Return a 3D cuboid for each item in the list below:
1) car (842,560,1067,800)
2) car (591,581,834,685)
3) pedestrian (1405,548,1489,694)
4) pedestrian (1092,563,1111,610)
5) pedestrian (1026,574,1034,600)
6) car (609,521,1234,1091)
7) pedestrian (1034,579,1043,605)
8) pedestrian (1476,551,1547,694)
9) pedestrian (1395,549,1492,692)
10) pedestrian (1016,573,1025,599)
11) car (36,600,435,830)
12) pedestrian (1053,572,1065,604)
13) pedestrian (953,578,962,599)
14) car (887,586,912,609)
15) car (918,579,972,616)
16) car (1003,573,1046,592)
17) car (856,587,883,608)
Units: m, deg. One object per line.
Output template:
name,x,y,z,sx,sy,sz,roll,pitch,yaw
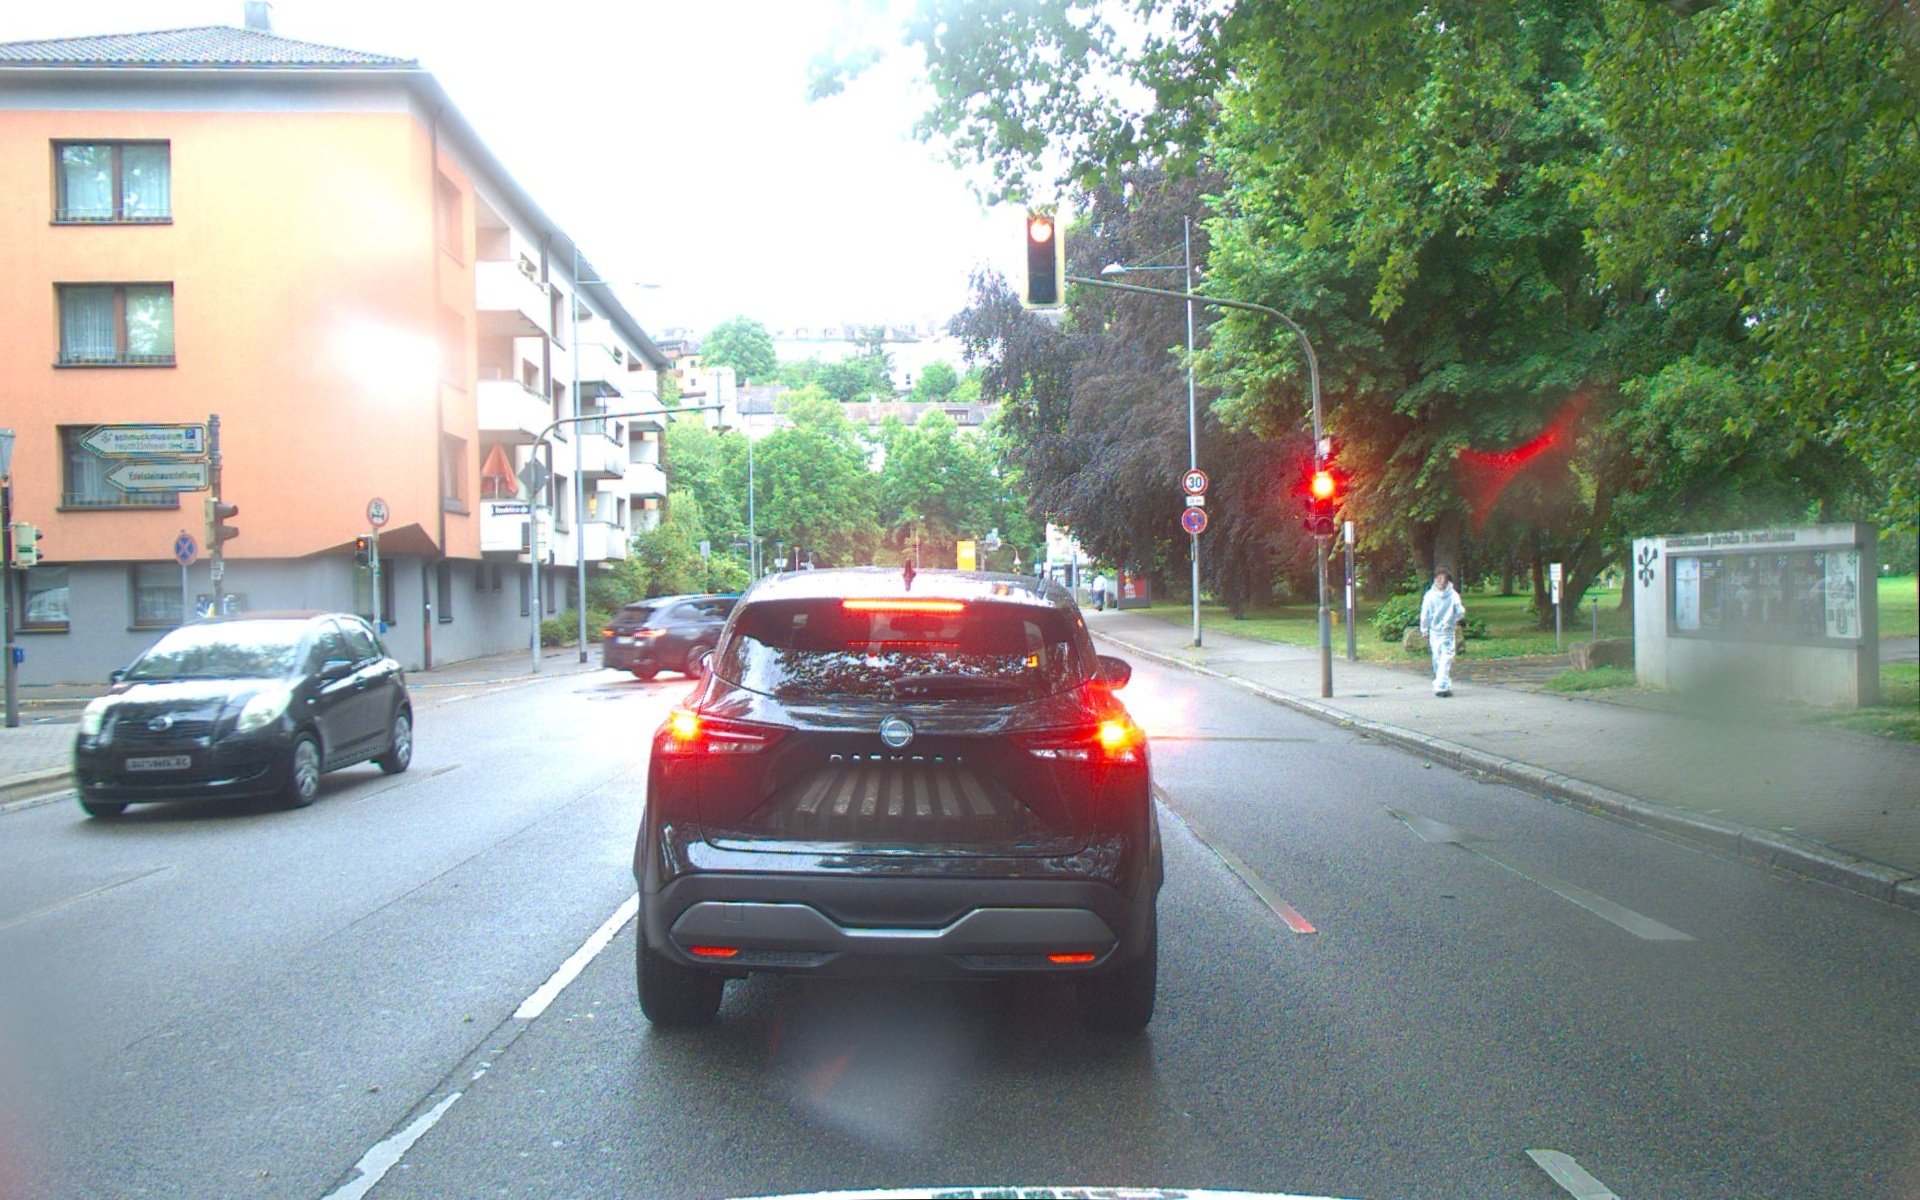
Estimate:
car,-0.068,0.594,14.424,1.664,1.776,3.640,-2,0,-1
car,-4.559,0.565,30.864,4.280,1.707,1.700,-3,1,-44
pedestrian,6.615,0.277,22.451,0.645,1.908,1.034,-3,1,39
pedestrian,6.386,-0.611,74.713,0.710,2.049,0.851,-2,0,-1
pedestrian,4.917,-0.909,115.884,0.498,1.833,0.659,-2,0,2
car,-0.136,0.610,6.984,1.874,1.709,3.999,0,0,-1
pedestrian,5.459,-0.555,114.753,0.498,1.833,0.619,-2,0,-2
pedestrian,7.715,0.302,23.120,0.643,1.908,1.037,-3,1,30
pedestrian,6.781,0.282,23.205,1.017,1.908,0.656,-4,1,-11
pedestrian,4.241,-0.980,115.655,0.498,1.833,0.619,-2,0,-1
car,-5.810,0.821,13.815,1.760,1.560,3.865,-2,0,-3
pedestrian,5.766,-0.699,96.012,0.498,1.833,0.620,-2,0,18
pedestrian,-0.213,-0.937,135.091,0.498,1.702,0.658,-2,0,27
car,-4.286,-0.164,117.888,1.601,1.559,3.967,-2,0,-1
car,-0.671,-0.120,69.513,1.791,1.428,4.644,-2,0,-6
car,6.411,-1.727,165.419,3.956,1.765,1.974,1,0,-37
car,-7.216,-0.234,131.816,1.930,1.559,3.967,-2,0,-1
